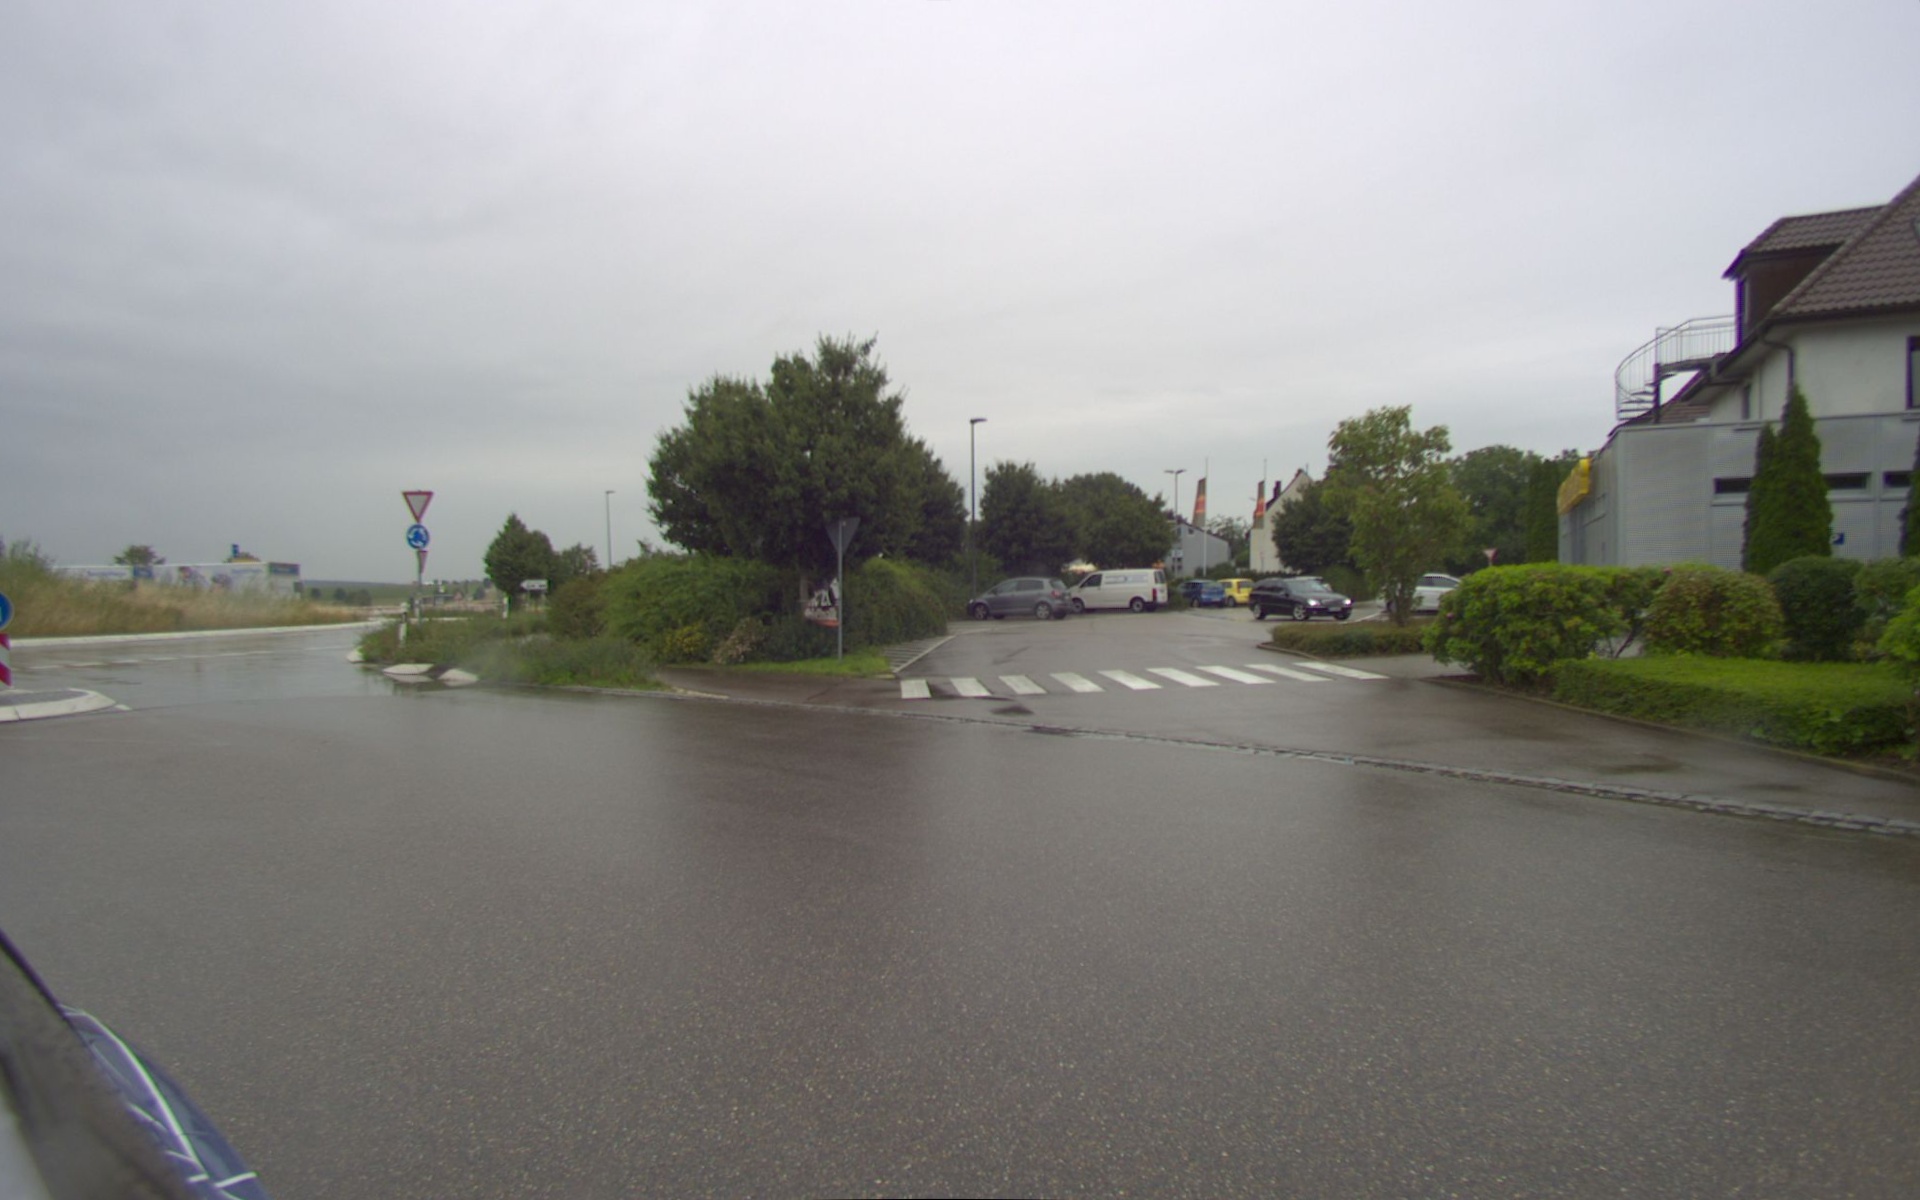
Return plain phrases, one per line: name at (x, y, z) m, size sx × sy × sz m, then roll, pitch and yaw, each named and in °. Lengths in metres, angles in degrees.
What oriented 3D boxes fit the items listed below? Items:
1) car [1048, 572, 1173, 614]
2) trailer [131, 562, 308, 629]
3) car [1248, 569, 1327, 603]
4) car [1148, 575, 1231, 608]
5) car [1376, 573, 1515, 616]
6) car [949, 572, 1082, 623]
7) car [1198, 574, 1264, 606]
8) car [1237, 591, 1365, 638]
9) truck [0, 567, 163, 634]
car at (6.922, -0.290, 46.732) m, size 5.354 × 1.735 × 1.981 m, roll -2°, pitch 0°, yaw 29°
trailer at (-44.194, -0.265, 60.505) m, size 8.752 × 3.641 × 3.094 m, roll -2°, pitch 0°, yaw 7°
car at (18.130, -0.731, 56.207) m, size 1.956 × 1.741 × 4.013 m, roll -2°, pitch 0°, yaw -22°
car at (11.826, -0.399, 52.493) m, size 1.966 × 1.562 × 4.663 m, roll -2°, pitch 0°, yaw -19°
car at (17.183, -0.178, 35.937) m, size 4.339 × 1.435 × 1.833 m, roll -1°, pitch 0°, yaw 28°
car at (2.091, -0.065, 38.213) m, size 4.589 × 1.735 × 1.981 m, roll -2°, pitch 0°, yaw 29°
car at (14.318, -0.512, 53.626) m, size 1.638 × 1.561 × 3.737 m, roll -2°, pitch 0°, yaw -16°
car at (11.447, 0.455, 34.286) m, size 1.677 × 1.435 × 4.375 m, roll -2°, pitch 1°, yaw -21°
truck at (-52.948, 0.025, 60.275) m, size 8.043 × 3.625 × 3.123 m, roll -2°, pitch 1°, yaw -9°
